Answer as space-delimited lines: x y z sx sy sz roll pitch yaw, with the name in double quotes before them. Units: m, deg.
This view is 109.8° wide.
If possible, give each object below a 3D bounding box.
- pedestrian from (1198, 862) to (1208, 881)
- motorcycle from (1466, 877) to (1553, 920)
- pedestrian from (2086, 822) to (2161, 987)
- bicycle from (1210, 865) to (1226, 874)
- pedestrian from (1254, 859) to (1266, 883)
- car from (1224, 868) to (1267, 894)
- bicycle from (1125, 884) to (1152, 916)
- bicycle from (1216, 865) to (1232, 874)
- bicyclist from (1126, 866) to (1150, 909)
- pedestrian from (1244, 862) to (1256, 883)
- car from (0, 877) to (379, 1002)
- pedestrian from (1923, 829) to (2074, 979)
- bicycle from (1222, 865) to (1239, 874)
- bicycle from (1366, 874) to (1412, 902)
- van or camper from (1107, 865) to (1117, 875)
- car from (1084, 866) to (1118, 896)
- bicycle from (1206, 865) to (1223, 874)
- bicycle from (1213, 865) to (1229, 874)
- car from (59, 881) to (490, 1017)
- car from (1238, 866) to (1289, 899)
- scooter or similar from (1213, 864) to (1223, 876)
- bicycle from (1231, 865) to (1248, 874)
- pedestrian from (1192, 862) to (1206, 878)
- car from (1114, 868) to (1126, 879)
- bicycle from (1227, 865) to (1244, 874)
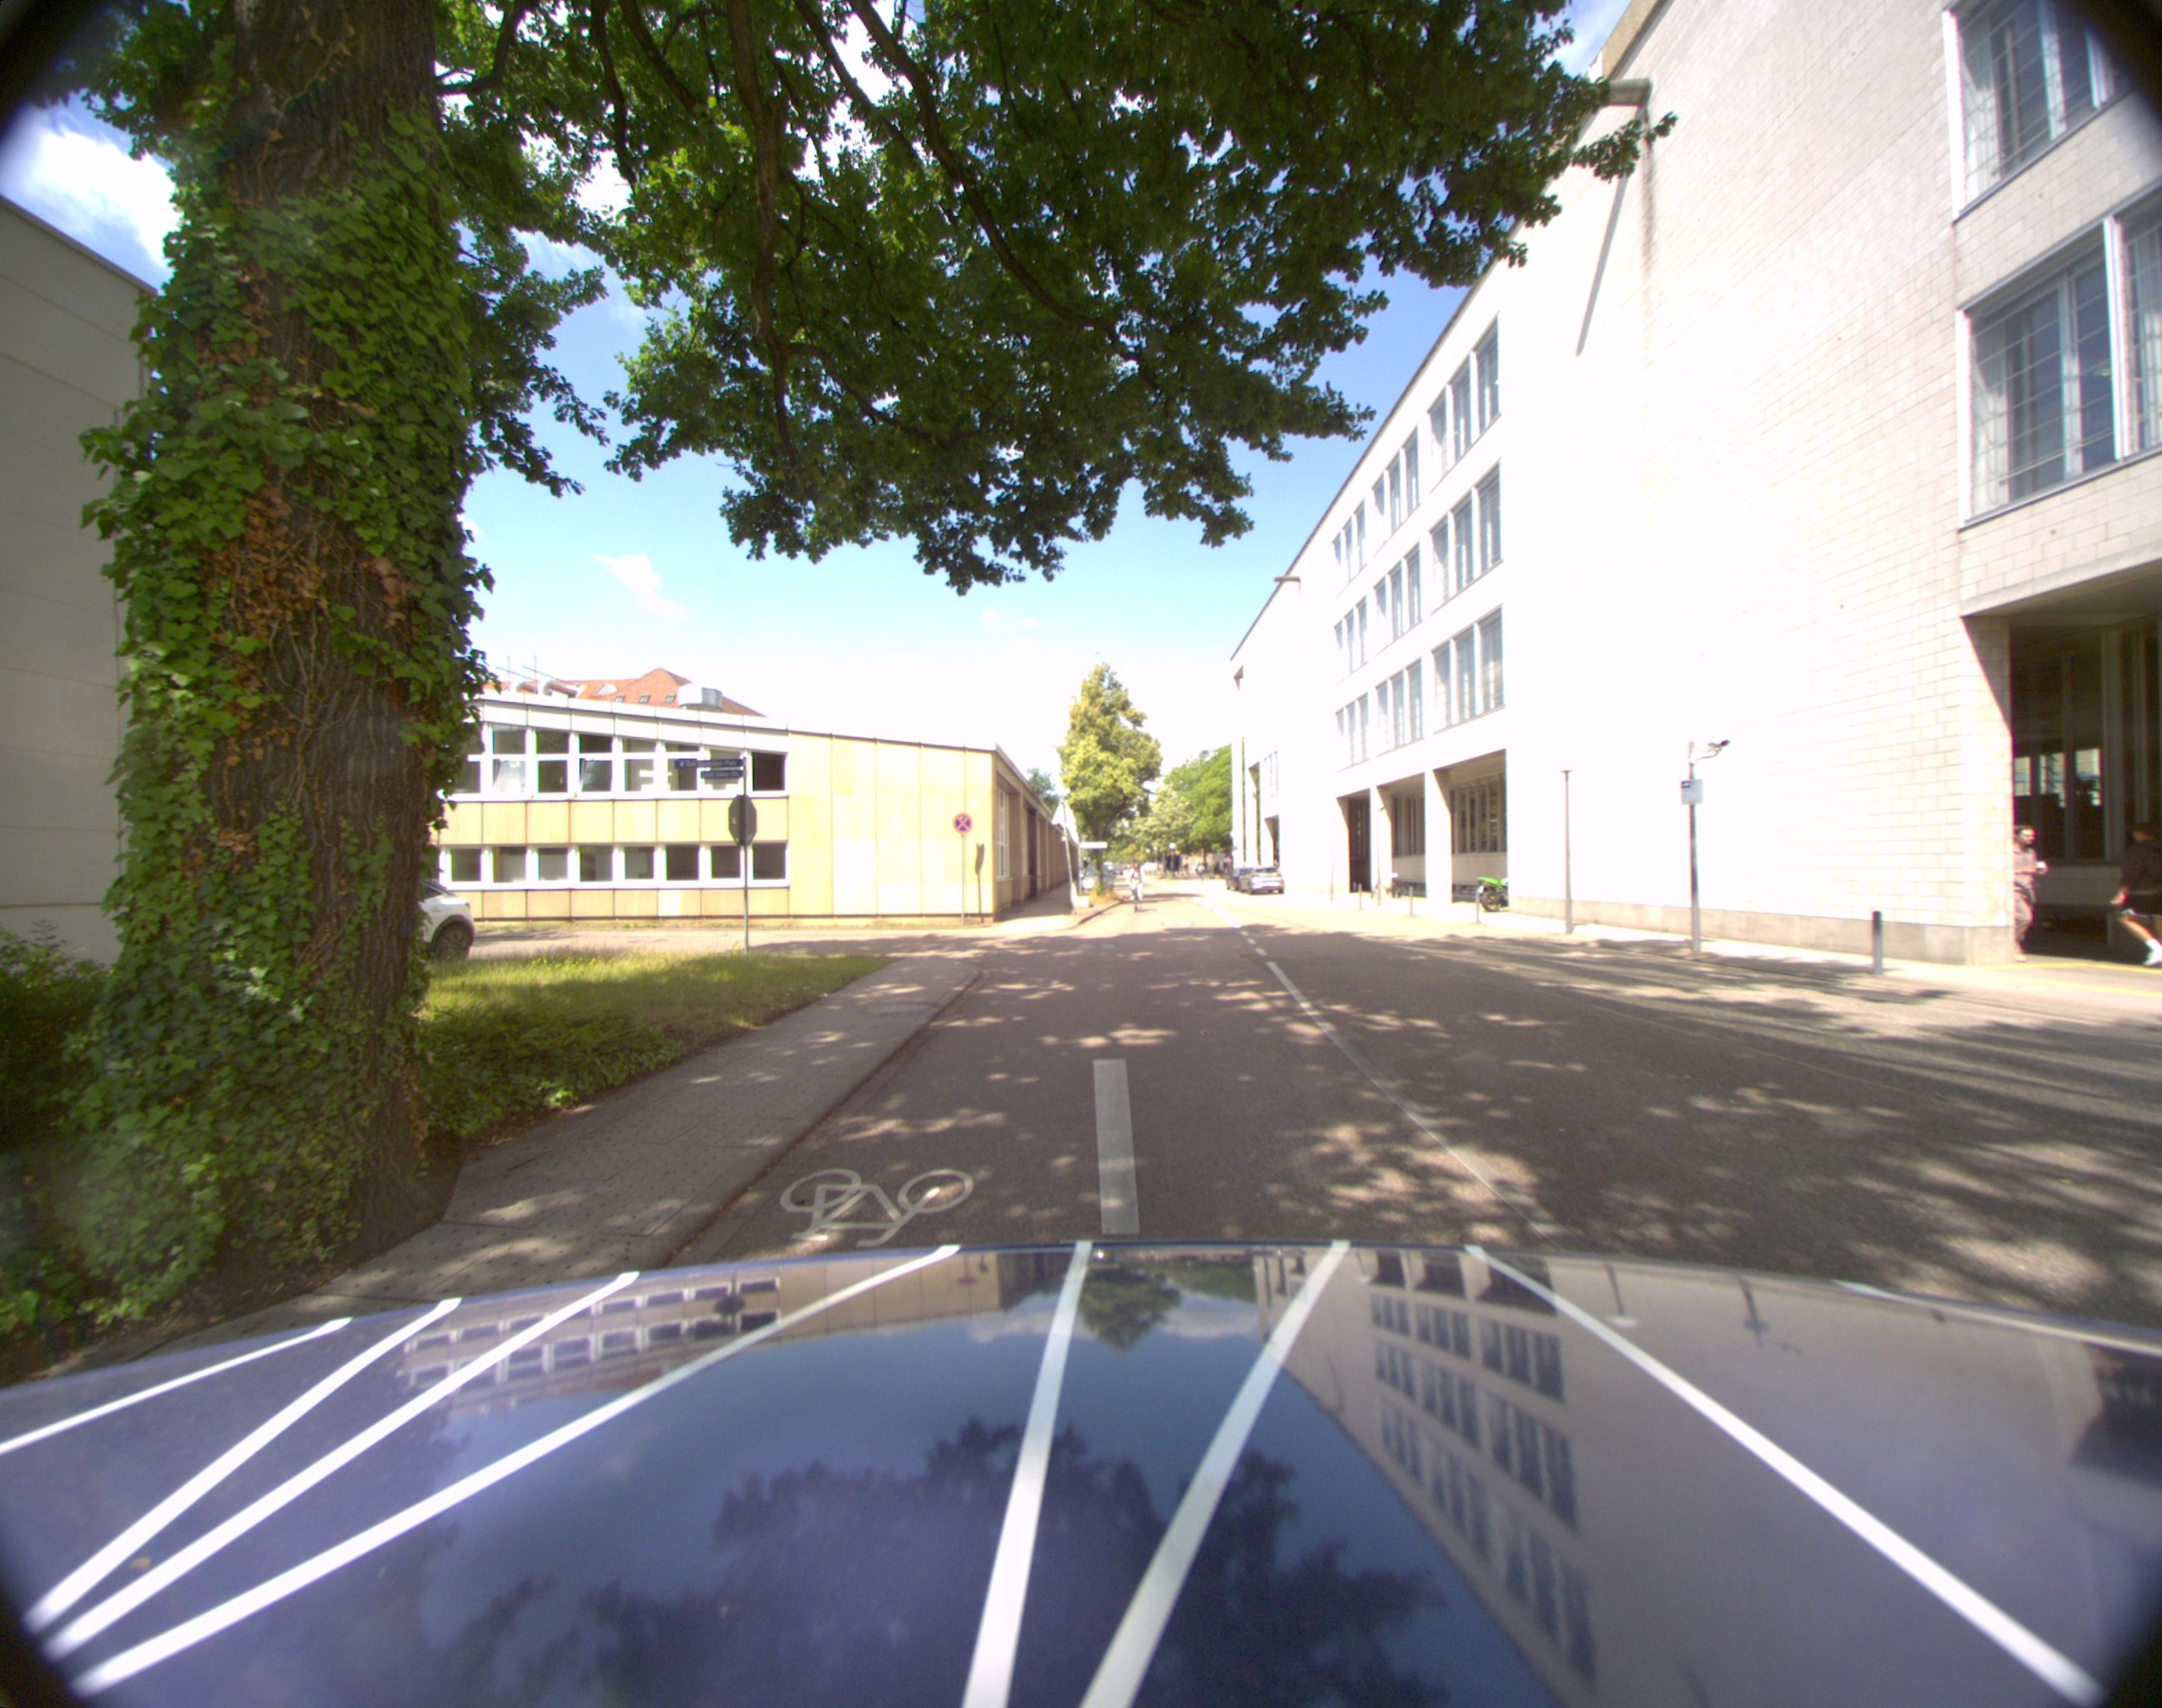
"pedestrian" 11.632 1.690 72.369 0.760 1.715 1.236 -3 0 12
"motorcycle" 12.468 1.280 22.117 2.173 1.131 0.774 -1 0 -9
"pedestrian" 13.482 0.609 9.491 0.700 2.002 0.830 -1 0 1
"bicycle" 17.762 1.982 98.659 2.127 1.052 0.621 -1 0 -28
"pedestrian" 15.146 1.459 64.258 0.755 2.002 1.081 -1 0 1
"car" 9.901 1.591 46.042 1.730 1.414 4.666 -1 -1 2
"bicycle" 1.974 1.574 26.415 0.781 1.042 1.913 0 -1 -1
"bicycle" 18.324 1.995 97.389 2.127 1.052 0.682 -1 0 -28
"bicyclist" 1.974 1.155 26.305 0.781 1.478 0.696 0 0 -1
"pedestrian" 14.318 1.579 64.218 0.755 1.770 1.081 -1 0 1
"car" -13.900 1.190 12.014 1.829 1.569 4.001 0 -1 2
"pedestrian" 12.888 0.675 10.715 0.850 2.002 1.066 0 0 -1
"bicycle" 18.853 1.973 95.822 2.127 1.052 0.682 -1 0 -28
"bicycle" 12.707 1.383 31.345 1.643 1.080 0.608 -1 0 -4
"van or camper" 7.396 3.797 181.127 1.997 2.347 4.386 0 -1 8
"car" 1.065 1.425 41.518 1.760 1.559 3.818 1 -1 1
"bicycle" 17.438 2.034 99.272 2.127 1.052 0.621 -1 0 -28
"bicycle" 18.095 2.005 98.063 2.127 1.052 0.621 -1 0 -28
"car" -10.985 1.173 10.901 1.671 1.468 4.182 -1 -1 1
"car" 9.704 1.473 40.728 1.730 1.526 4.406 -3 0 2
"scooter or similar" 14.243 1.682 78.909 0.713 1.184 1.617 -1 1 23
"bicycle" 19.661 1.920 94.363 2.127 1.100 0.682 -1 0 -28
"pedestrian" 13.758 1.819 88.897 1.400 1.813 1.370 -1 0 1
"car" 6.535 3.340 128.236 1.998 1.805 4.001 0 -1 2
"bicycle" 19.292 1.933 95.016 2.127 1.100 0.682 -1 0 -28
